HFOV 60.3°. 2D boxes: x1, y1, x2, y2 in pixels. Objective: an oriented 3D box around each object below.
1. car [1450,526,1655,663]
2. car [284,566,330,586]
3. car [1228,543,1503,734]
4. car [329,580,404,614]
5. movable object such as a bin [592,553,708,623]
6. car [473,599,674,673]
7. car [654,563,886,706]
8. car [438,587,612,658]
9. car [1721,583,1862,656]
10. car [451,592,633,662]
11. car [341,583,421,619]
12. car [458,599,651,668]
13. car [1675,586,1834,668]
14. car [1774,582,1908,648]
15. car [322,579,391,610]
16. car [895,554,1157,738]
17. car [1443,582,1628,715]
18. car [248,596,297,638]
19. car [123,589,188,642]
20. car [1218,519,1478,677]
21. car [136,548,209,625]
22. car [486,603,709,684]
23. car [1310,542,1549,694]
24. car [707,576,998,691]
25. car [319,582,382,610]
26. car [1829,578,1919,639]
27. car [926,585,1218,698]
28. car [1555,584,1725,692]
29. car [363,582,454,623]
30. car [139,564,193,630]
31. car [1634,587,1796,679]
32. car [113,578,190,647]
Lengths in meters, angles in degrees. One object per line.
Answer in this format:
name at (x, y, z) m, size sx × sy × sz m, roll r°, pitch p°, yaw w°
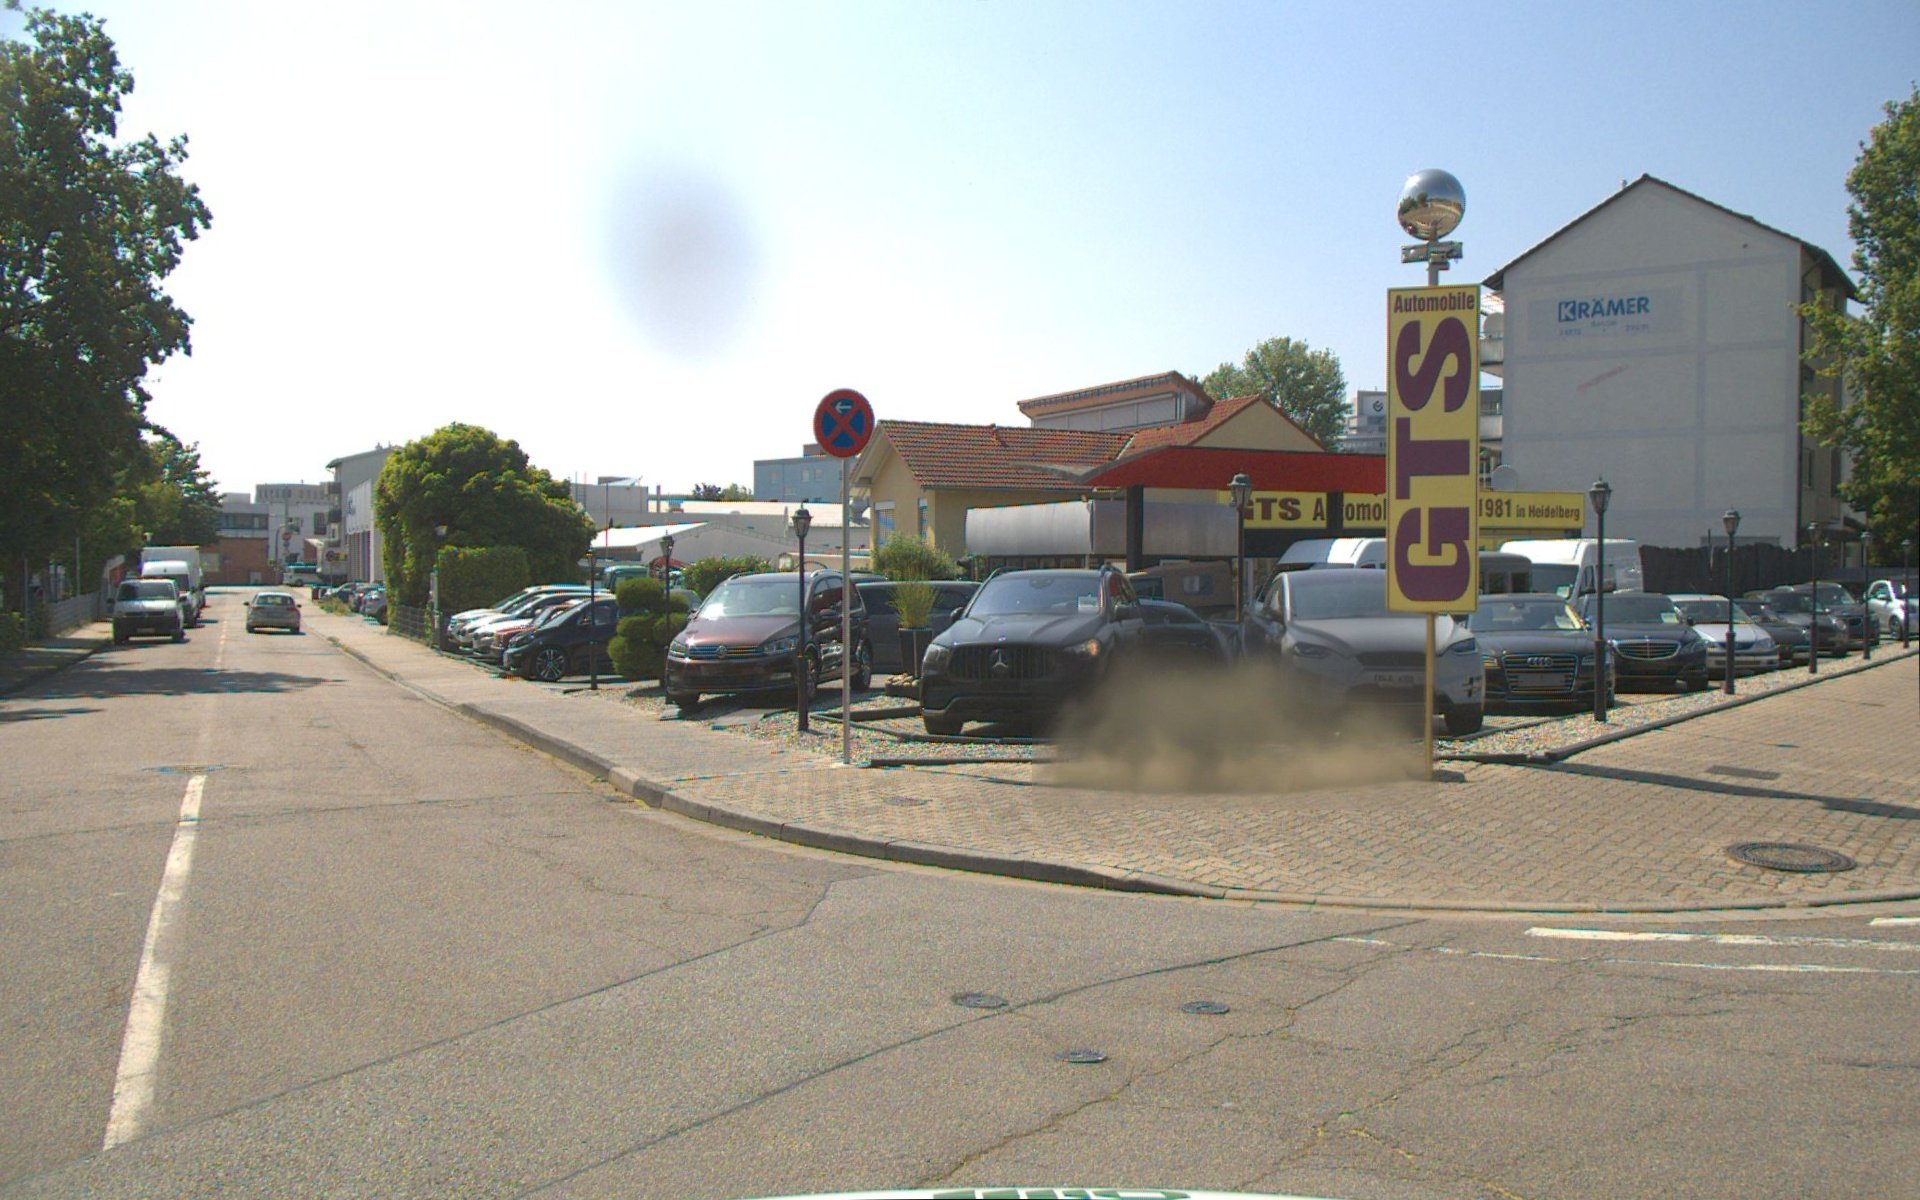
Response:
car at (12.180, -0.105, 33.731) m, size 2.210 × 2.472 × 5.694 m, roll 4°, pitch 2°, yaw 37°
car at (-63.733, -2.337, 161.324) m, size 3.947 × 1.942 × 1.796 m, roll 1°, pitch 1°, yaw -31°
car at (4.137, 0.460, 17.683) m, size 1.934 × 1.737 × 4.664 m, roll -1°, pitch -3°, yaw 2°
car at (-32.726, -0.155, 91.141) m, size 3.778 × 1.794 × 1.769 m, roll 1°, pitch 0°, yaw -24°
movable object such as a bin at (-13.538, -0.519, 72.228) m, size 4.749 × 2.957 × 1.987 m, roll 0°, pitch 0°, yaw -22°
car at (-8.430, 0.750, 36.122) m, size 3.997 × 1.515 × 1.783 m, roll 0°, pitch 0°, yaw -27°
car at (-2.370, 0.413, 21.806) m, size 1.766 × 1.685 × 4.319 m, roll -1°, pitch 0°, yaw 12°
car at (-11.296, 0.554, 42.964) m, size 4.108 × 1.780 × 1.876 m, roll 0°, pitch 0°, yaw -27°
car at (18.654, 0.417, 37.295) m, size 1.631 × 1.499 × 4.003 m, roll -2°, pitch -1°, yaw 9°
car at (-10.262, 0.633, 40.658) m, size 4.063 × 1.631 × 1.854 m, roll 0°, pitch 0°, yaw -27°
car at (-29.976, 0.049, 85.581) m, size 3.778 × 1.794 × 1.842 m, roll 1°, pitch 0°, yaw -24°
car at (-9.372, 0.745, 38.268) m, size 4.057 × 1.515 × 1.854 m, roll 0°, pitch 0°, yaw -27°
car at (16.008, 0.523, 33.542) m, size 1.631 × 1.499 × 4.003 m, roll -2°, pitch 0°, yaw 6°
car at (21.621, 0.366, 40.740) m, size 1.631 × 1.499 × 4.003 m, roll -2°, pitch -1°, yaw 9°
car at (-36.109, -0.332, 98.918) m, size 3.778 × 1.794 × 1.769 m, roll 1°, pitch 0°, yaw -24°
car at (0.862, 0.484, 17.935) m, size 1.999 × 1.737 × 4.318 m, roll 0°, pitch -1°, yaw 14°
car at (7.286, 0.585, 21.286) m, size 1.797 × 1.499 × 4.003 m, roll -2°, pitch -1°, yaw 13°
car at (-25.871, 0.594, 62.213) m, size 1.654 × 1.519 × 4.573 m, roll 0°, pitch 0°, yaw -23°
car at (-27.431, 0.500, 56.491) m, size 1.807 × 1.722 × 3.970 m, roll 0°, pitch 0°, yaw -24°
car at (7.720, -0.008, 32.423) m, size 2.245 × 2.806 × 6.112 m, roll 0°, pitch -1°, yaw 43°
car at (-36.389, -0.628, 76.631) m, size 2.769 × 3.375 × 7.724 m, roll 0°, pitch 0°, yaw -24°
car at (-7.273, 0.823, 33.217) m, size 4.070 × 1.515 × 1.854 m, roll 0°, pitch 0°, yaw -27°
car at (8.212, 0.317, 28.640) m, size 2.212 × 2.391 × 4.797 m, roll 0°, pitch -1°, yaw 40°
car at (-1.775, 0.545, 28.230) m, size 4.777 × 1.874 × 2.162 m, roll 0°, pitch 0°, yaw -1°
car at (-39.895, -0.250, 108.269) m, size 3.809 × 1.794 × 1.811 m, roll 1°, pitch 0°, yaw -24°
car at (24.343, 0.189, 43.129) m, size 1.738 × 1.499 × 4.003 m, roll -2°, pitch 0°, yaw 9°
car at (1.828, 0.573, 26.069) m, size 4.644 × 1.602 × 1.887 m, roll -1°, pitch 1°, yaw -41°
car at (10.457, 0.557, 25.695) m, size 1.797 × 1.499 × 4.003 m, roll -2°, pitch -1°, yaw 14°
car at (-25.023, 0.125, 75.060) m, size 3.778 × 1.794 × 1.842 m, roll 1°, pitch 0°, yaw -24°
car at (-31.757, -0.119, 66.252) m, size 1.807 × 2.548 × 3.970 m, roll 0°, pitch 0°, yaw -24°
car at (13.706, 0.580, 30.251) m, size 1.742 × 1.499 × 4.003 m, roll -2°, pitch -1°, yaw 11°
car at (-25.461, 0.386, 52.189) m, size 2.007 × 2.092 × 3.970 m, roll 0°, pitch 0°, yaw -24°
